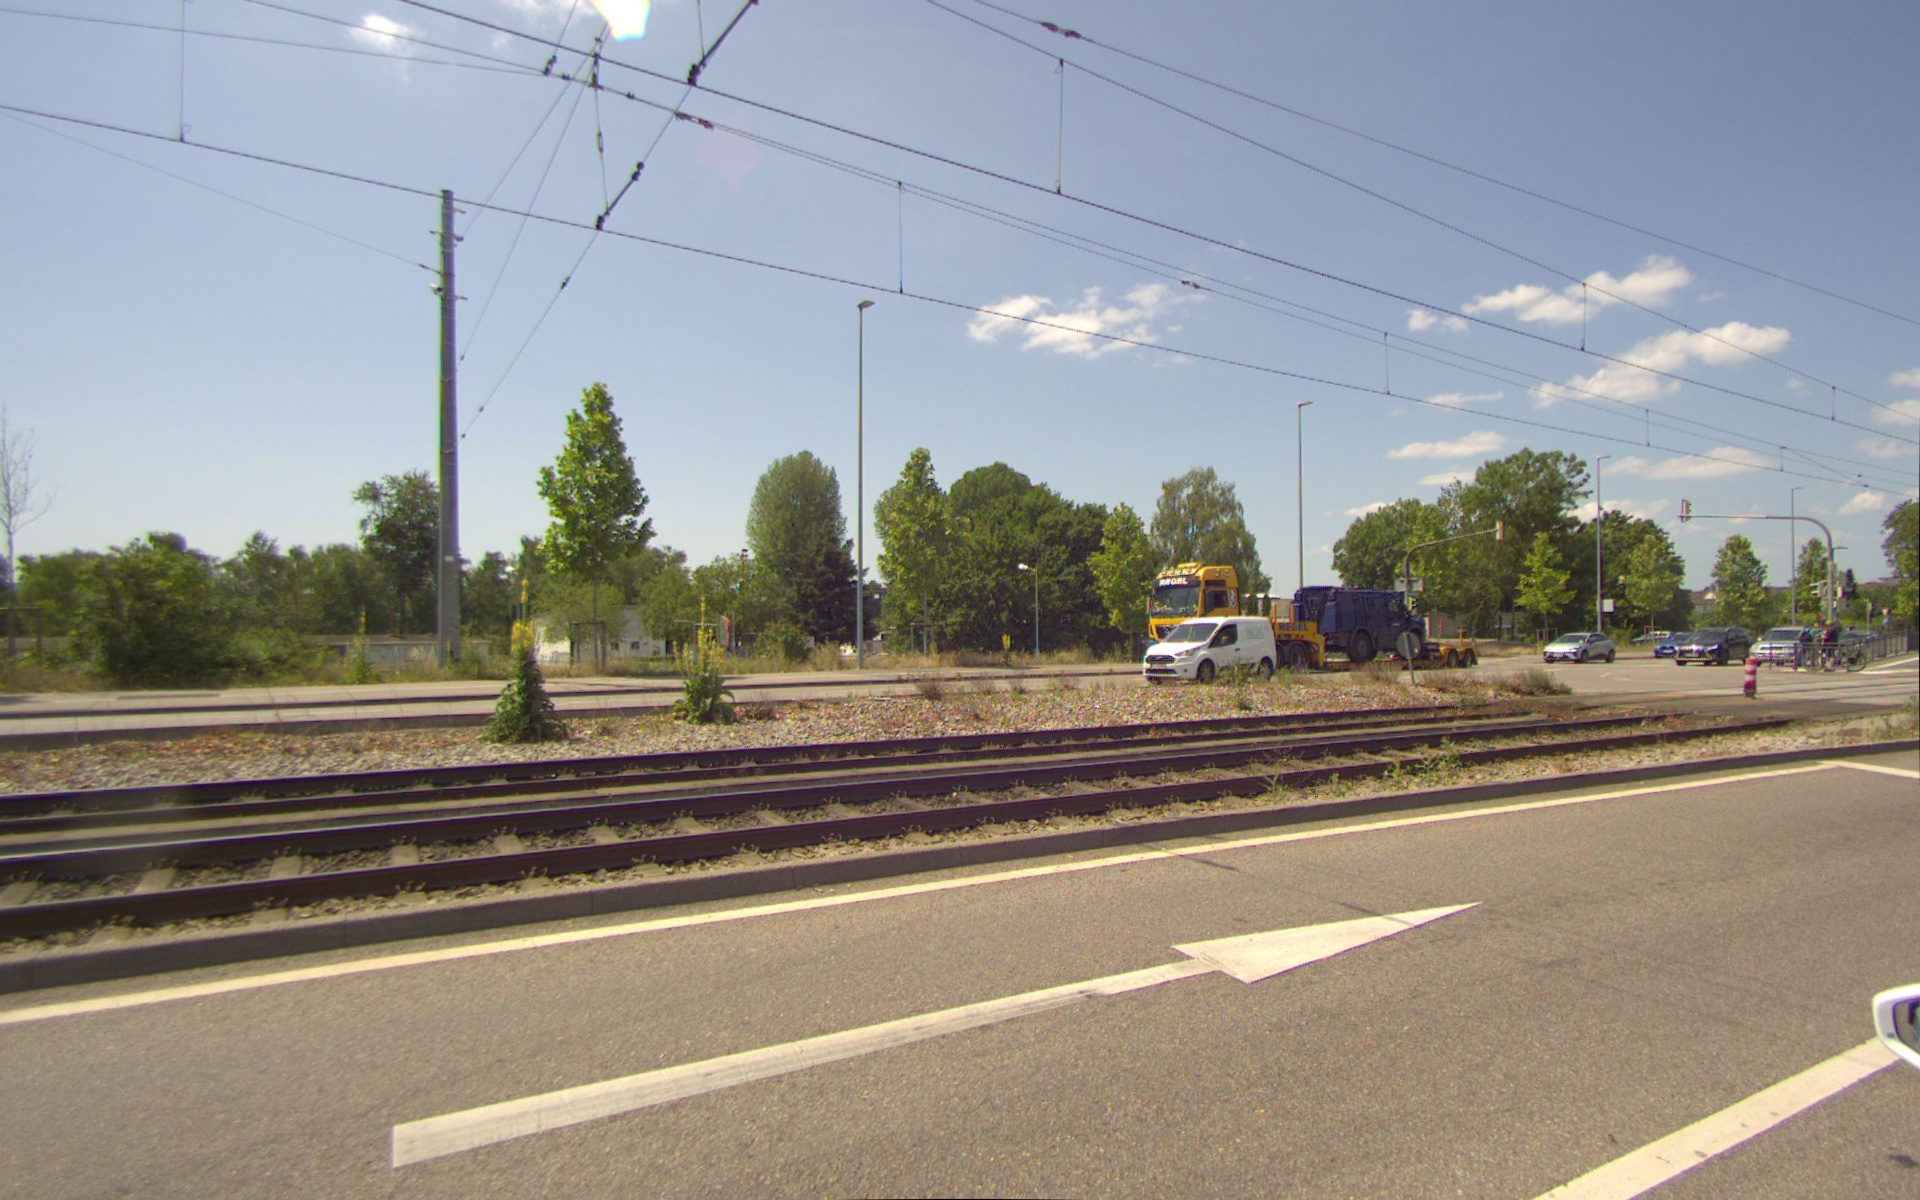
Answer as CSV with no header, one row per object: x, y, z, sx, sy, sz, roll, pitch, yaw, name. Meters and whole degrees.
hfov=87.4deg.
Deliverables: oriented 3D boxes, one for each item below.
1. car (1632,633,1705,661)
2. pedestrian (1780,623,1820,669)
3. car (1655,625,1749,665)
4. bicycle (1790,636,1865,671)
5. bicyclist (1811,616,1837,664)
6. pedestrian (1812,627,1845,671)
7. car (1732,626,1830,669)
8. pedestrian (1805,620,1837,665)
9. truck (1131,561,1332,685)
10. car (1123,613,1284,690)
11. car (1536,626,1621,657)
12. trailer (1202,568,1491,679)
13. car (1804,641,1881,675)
40.859,2.661,57.877,4.302,1.464,1.982,1,0,-33,car
30.727,1.672,36.749,0.756,1.631,0.951,0,0,-34,pedestrian
32.680,1.933,44.247,3.954,1.650,1.984,1,-1,-31,car
30.279,1.860,35.092,1.950,1.115,0.760,1,0,44,bicycle
30.227,1.400,35.139,0.657,1.636,0.729,1,0,43,bicyclist
31.913,1.781,36.900,0.756,1.569,0.757,0,0,-34,pedestrian
34.641,1.970,42.367,3.953,1.650,1.984,1,0,-31,car
32.743,1.593,38.187,0.756,1.694,0.757,0,0,-34,pedestrian
9.961,0.807,36.508,7.404,4.093,3.104,1,0,-36,truck
6.649,1.343,27.196,4.395,1.863,1.977,2,0,-39,car
30.966,2.046,50.259,4.232,1.483,1.982,1,0,-33,car
16.252,0.936,41.040,15.330,3.922,3.094,1,0,-36,trailer
47.636,3.110,54.224,3.953,1.650,1.984,1,0,-31,car
